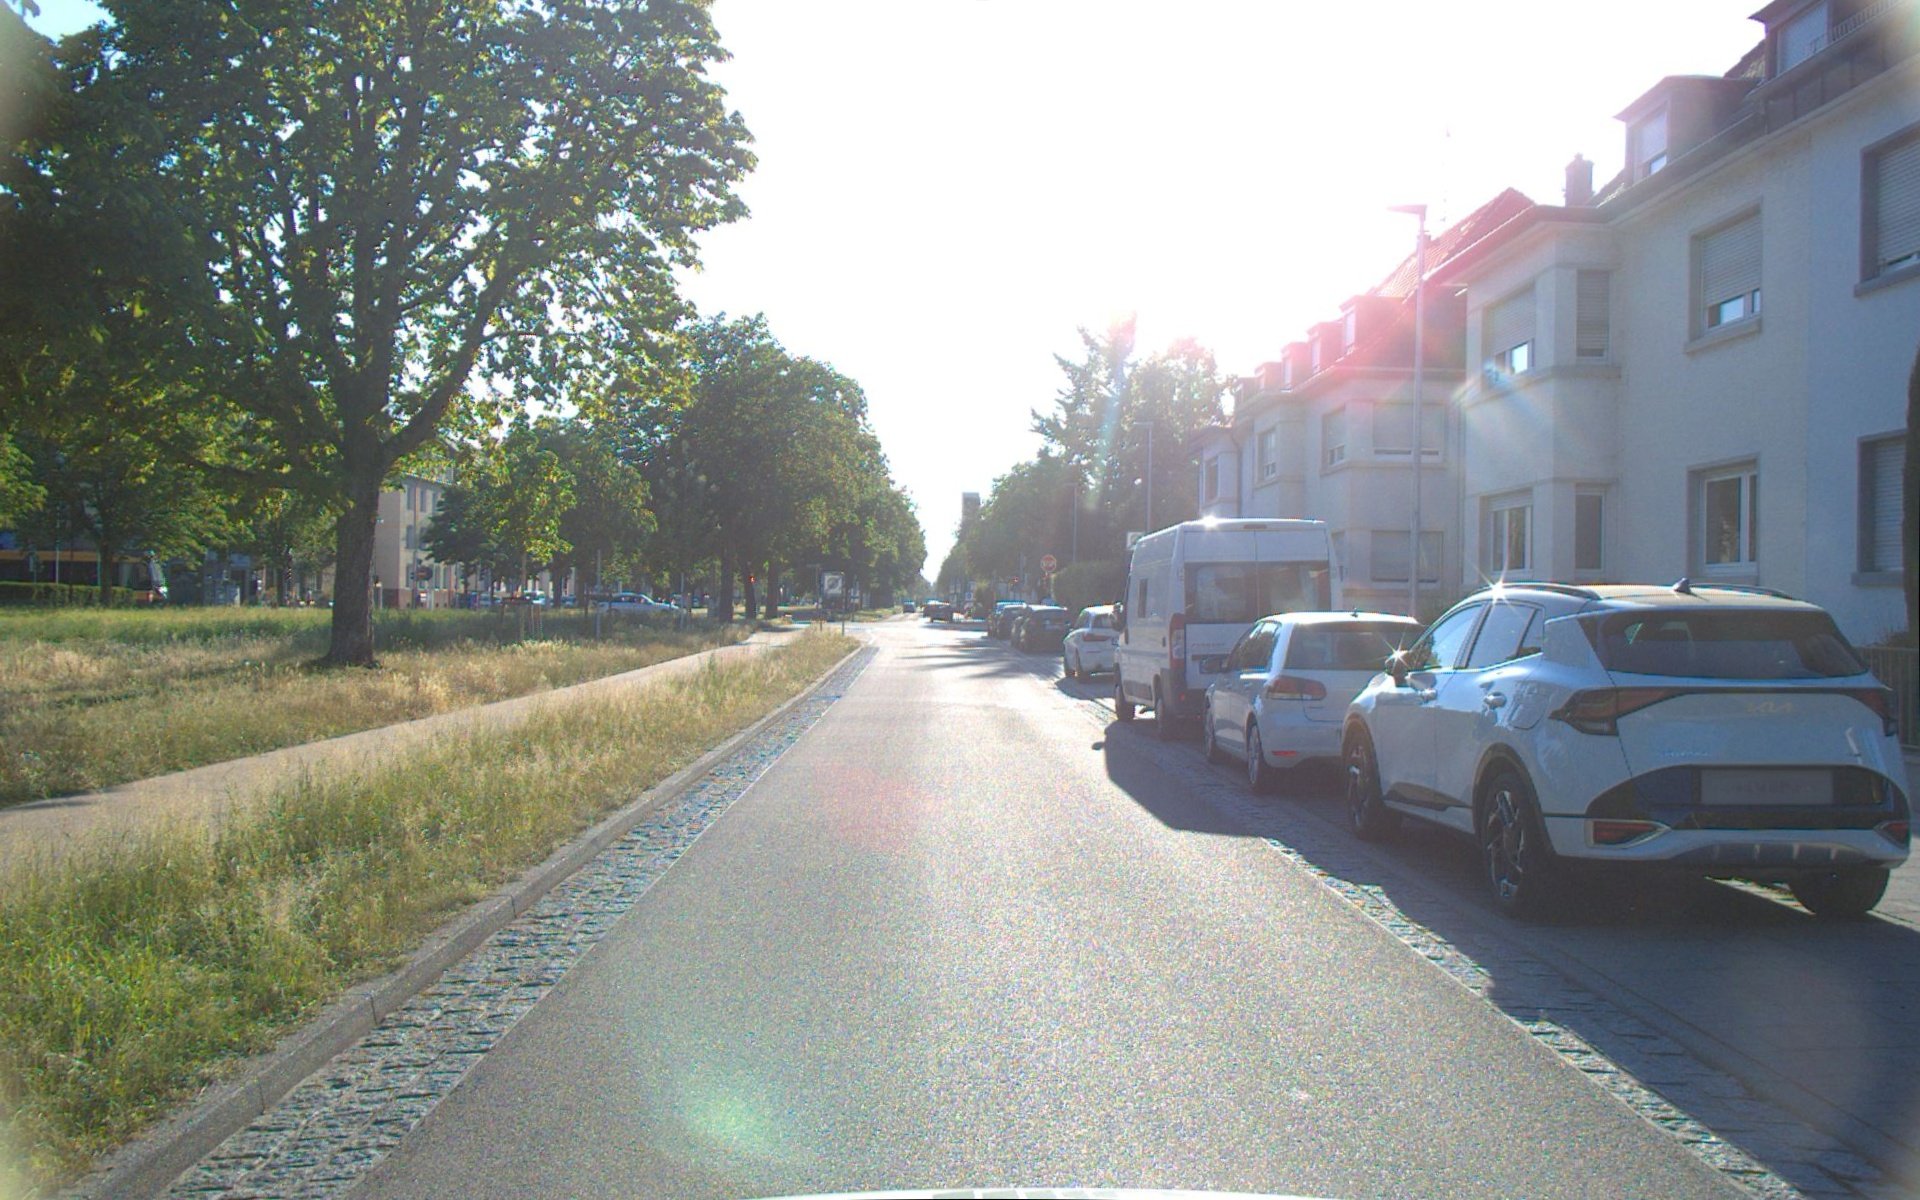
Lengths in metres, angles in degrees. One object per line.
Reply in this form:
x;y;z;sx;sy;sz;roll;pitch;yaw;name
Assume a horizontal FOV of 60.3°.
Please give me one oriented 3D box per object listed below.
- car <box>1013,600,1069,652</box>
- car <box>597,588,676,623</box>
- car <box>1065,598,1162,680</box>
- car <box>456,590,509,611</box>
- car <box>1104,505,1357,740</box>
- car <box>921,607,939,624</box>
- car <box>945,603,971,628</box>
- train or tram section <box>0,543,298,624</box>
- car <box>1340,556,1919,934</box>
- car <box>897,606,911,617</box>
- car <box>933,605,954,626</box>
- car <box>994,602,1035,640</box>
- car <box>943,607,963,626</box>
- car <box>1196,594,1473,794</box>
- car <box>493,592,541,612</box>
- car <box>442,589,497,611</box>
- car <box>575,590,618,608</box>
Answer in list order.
2.545;0.796;52.560;1.616;1.557;3.851;0;0;0;car
-18.263;0.332;93.593;4.266;1.795;1.995;2;-1;-10;car
3.041;0.743;33.420;1.616;1.557;3.851;0;0;0;car
-44.394;0.076;153.681;4.257;1.795;2.000;2;-1;0;car
3.212;0.242;20.797;2.084;2.577;5.185;0;0;-3;car
-2.909;1.514;160.502;1.616;1.557;3.851;0;0;0;car
-0.128;1.009;108.344;1.616;1.557;3.851;0;0;0;car
-49.700;-0.995;97.254;19.430;4.025;3.633;2;-1;-11;train or tram section
3.617;0.637;9.404;1.800;1.664;4.129;0;0;-3;car
-7.785;1.589;231.370;1.773;1.557;3.851;0;0;0;car
-1.259;1.172;126.748;1.616;1.557;3.851;0;0;0;car
2.256;0.858;69.525;1.616;1.557;3.851;0;0;0;car
-0.584;1.361;140.744;1.616;1.557;3.851;0;0;0;car
3.200;0.732;14.846;1.616;1.557;3.851;0;0;0;car
-44.830;0.226;167.279;4.257;1.795;2.000;2;-1;0;car
-43.800;0.027;147.814;4.257;1.795;2.000;2;-1;0;car
-39.814;-0.102;181.265;4.257;1.795;2.000;2;-1;0;car
